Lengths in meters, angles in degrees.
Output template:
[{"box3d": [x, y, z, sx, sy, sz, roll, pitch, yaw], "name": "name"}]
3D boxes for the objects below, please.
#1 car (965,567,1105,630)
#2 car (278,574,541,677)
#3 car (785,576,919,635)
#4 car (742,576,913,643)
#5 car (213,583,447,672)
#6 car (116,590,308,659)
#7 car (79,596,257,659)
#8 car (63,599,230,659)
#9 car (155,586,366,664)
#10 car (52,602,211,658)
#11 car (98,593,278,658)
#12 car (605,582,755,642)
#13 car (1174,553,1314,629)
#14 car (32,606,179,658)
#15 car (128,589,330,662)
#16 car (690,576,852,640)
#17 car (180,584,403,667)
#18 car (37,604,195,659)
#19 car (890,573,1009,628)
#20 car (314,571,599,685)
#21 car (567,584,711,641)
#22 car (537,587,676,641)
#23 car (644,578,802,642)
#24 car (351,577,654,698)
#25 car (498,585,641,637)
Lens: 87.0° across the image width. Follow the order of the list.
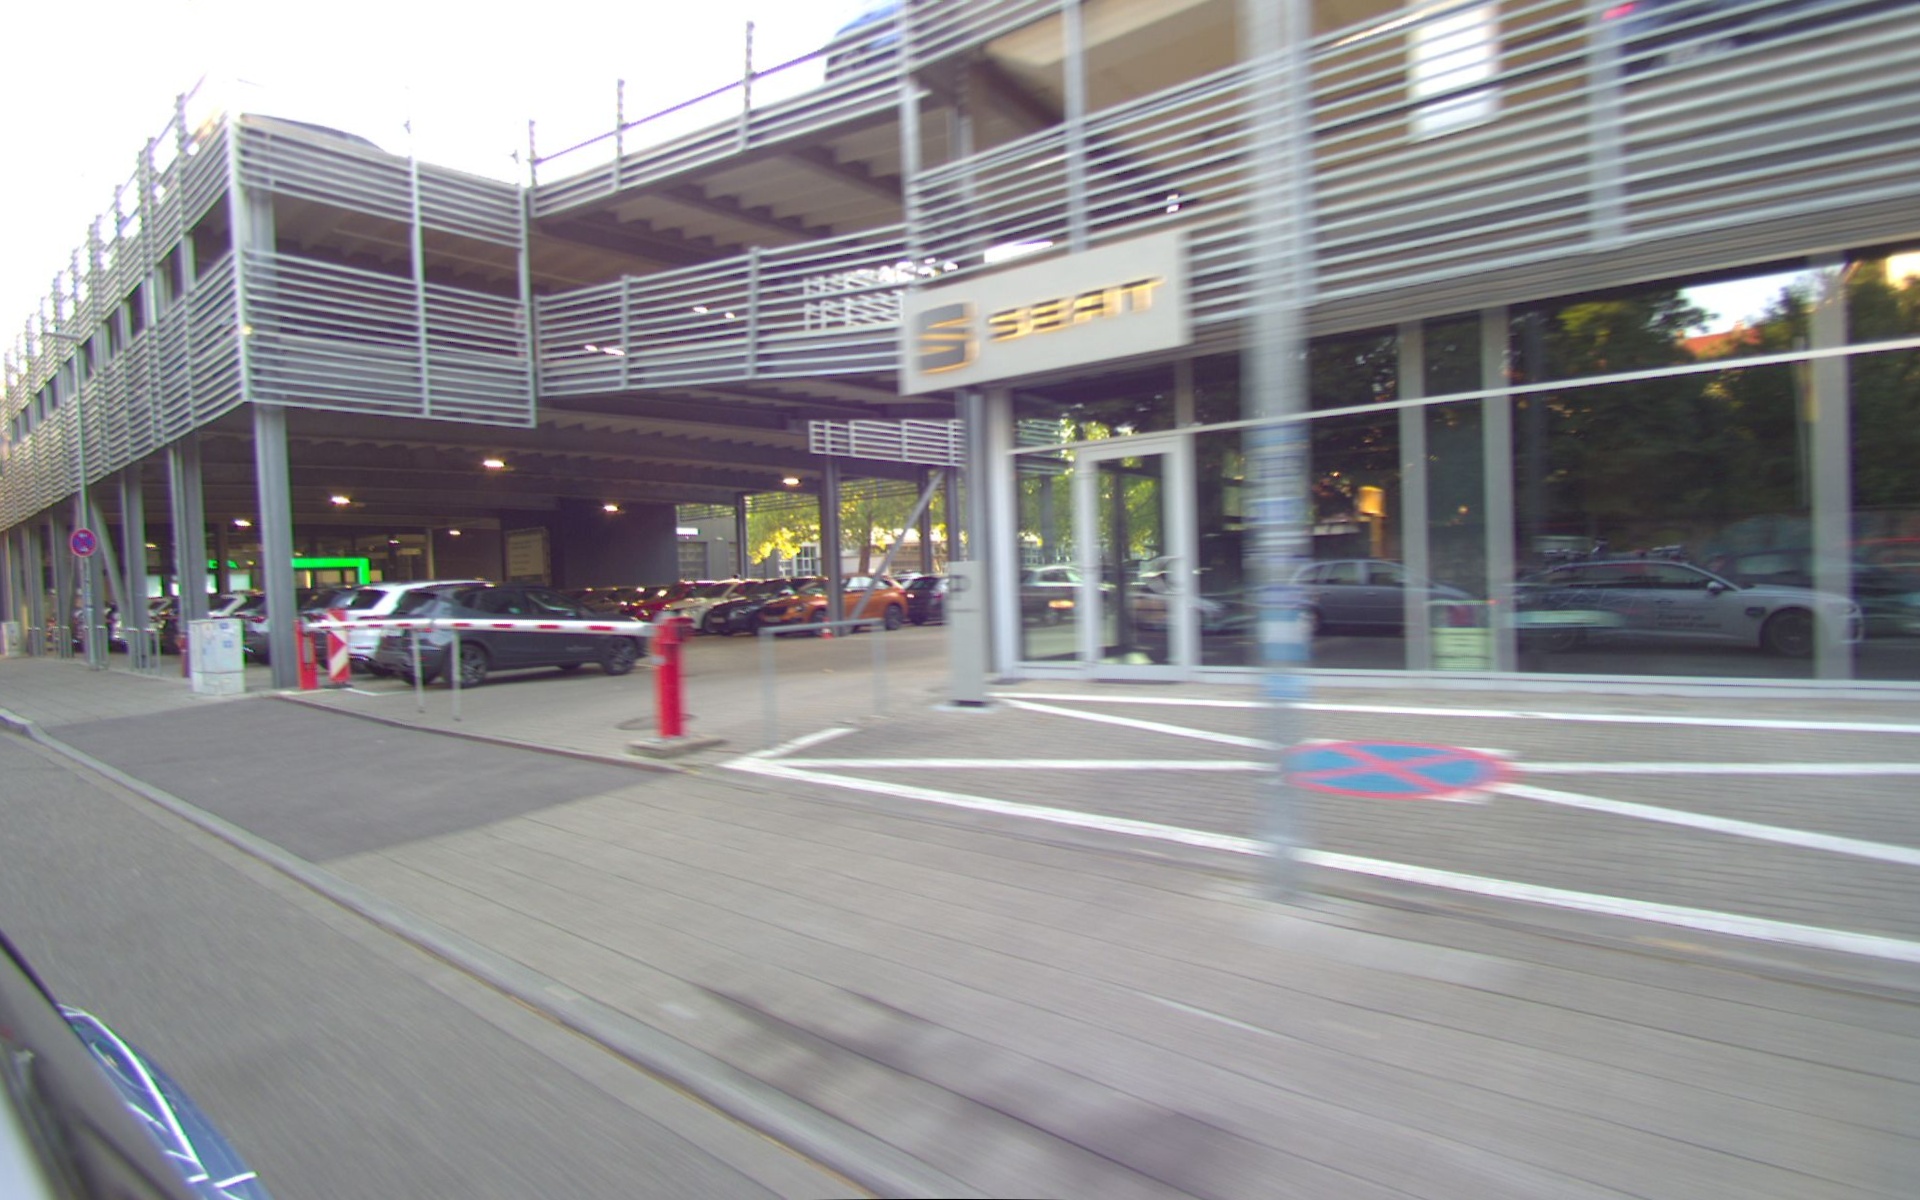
[{"box3d": [2.165, -0.065, 28.330, 1.859, 1.565, 3.939, -3, 0, 42], "name": "car"}, {"box3d": [-10.546, 0.430, 19.598, 1.859, 1.696, 4.044, -3, 0, 42], "name": "car"}, {"box3d": [-3.443, 0.160, 32.903, 1.859, 1.696, 4.105, -3, 0, 42], "name": "car"}, {"box3d": [-3.349, 0.210, 26.211, 1.830, 1.506, 4.186, -3, 0, 42], "name": "car"}, {"box3d": [-13.964, 0.563, 22.592, 1.859, 1.696, 4.022, -3, 0, 42], "name": "car"}, {"box3d": [-21.167, 0.674, 28.744, 1.859, 1.696, 4.041, -3, 0, 42], "name": "car"}, {"box3d": [-24.783, 0.846, 31.785, 1.859, 1.696, 4.106, -3, 0, 42], "name": "car"}, {"box3d": [-26.675, 0.913, 33.277, 1.859, 1.696, 3.993, -3, 0, 42], "name": "car"}, {"box3d": [-17.690, 0.598, 25.722, 1.859, 1.696, 4.060, -3, 0, 42], "name": "car"}, {"box3d": [-28.626, 1.012, 35.051, 1.859, 1.696, 3.993, -3, 0, 42], "name": "car"}, {"box3d": [-23.097, 0.729, 30.380, 1.859, 1.696, 3.983, -3, 0, 42], "name": "car"}, {"box3d": [-8.441, 0.339, 30.735, 1.859, 1.608, 3.993, -3, 0, 42], "name": "car"}, {"box3d": [6.649, -0.244, 23.458, 1.784, 1.484, 3.794, -6, -1, 37], "name": "car"}, {"box3d": [-32.169, 1.194, 38.173, 1.859, 1.696, 4.000, -3, 0, 42], "name": "car"}, {"box3d": [-19.553, 0.641, 27.199, 1.859, 1.696, 4.060, -3, 0, 42], "name": "car"}, {"box3d": [-5.090, 0.193, 27.664, 1.859, 1.506, 4.009, -3, 0, 42], "name": "car"}, {"box3d": [-15.809, 0.562, 24.081, 1.859, 1.696, 4.060, -3, 0, 42], "name": "car"}, {"box3d": [-30.430, 1.105, 36.564, 1.859, 1.696, 4.122, -3, 0, 42], "name": "car"}, {"box3d": [-0.263, -0.008, 29.915, 1.595, 1.436, 3.415, -2, 1, 41], "name": "car"}, {"box3d": [-8.709, 0.422, 17.759, 1.859, 1.696, 4.037, -3, 0, 42], "name": "car"}, {"box3d": [-10.176, 0.385, 32.266, 1.859, 1.570, 3.945, -3, 0, 42], "name": "car"}, {"box3d": [-11.792, 0.434, 33.889, 1.859, 1.570, 3.945, -3, 0, 42], "name": "car"}, {"box3d": [-6.748, 0.265, 29.119, 1.859, 1.591, 4.025, -3, 0, 42], "name": "car"}, {"box3d": [-7.101, 0.477, 16.036, 1.858, 1.597, 3.948, 0, 2, 39], "name": "car"}, {"box3d": [-13.438, 0.365, 34.984, 1.859, 1.531, 4.161, -3, 0, 42], "name": "car"}]
